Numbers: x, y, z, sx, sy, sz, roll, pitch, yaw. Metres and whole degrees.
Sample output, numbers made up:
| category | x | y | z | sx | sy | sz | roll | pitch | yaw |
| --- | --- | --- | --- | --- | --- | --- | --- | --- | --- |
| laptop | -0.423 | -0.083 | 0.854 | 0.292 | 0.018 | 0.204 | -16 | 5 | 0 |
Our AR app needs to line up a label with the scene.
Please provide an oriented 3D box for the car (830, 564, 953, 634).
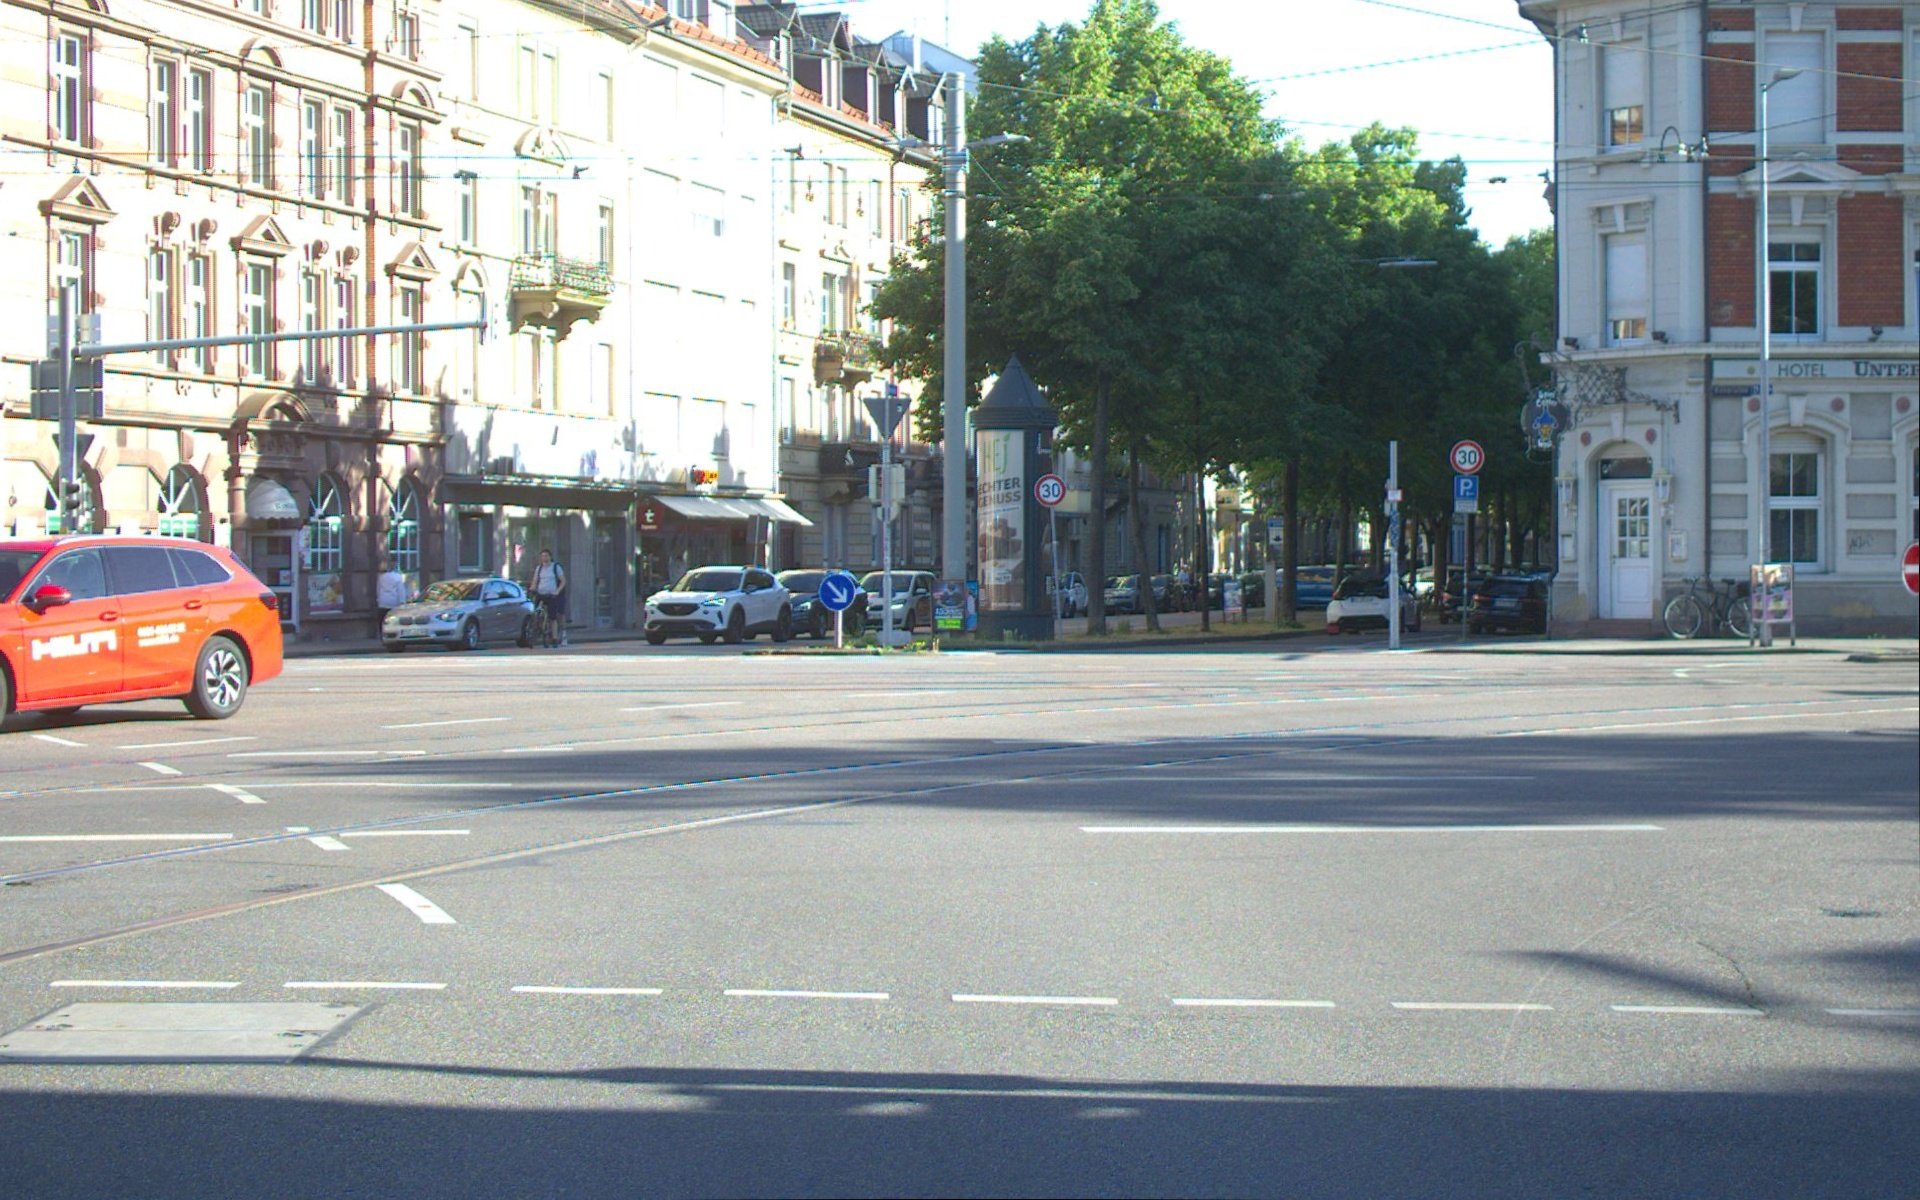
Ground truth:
| category | x | y | z | sx | sy | sz | roll | pitch | yaw |
| --- | --- | --- | --- | --- | --- | --- | --- | --- | --- |
| car | -1.562 | -0.035 | 79.424 | 1.804 | 1.570 | 3.888 | 1 | 1 | 15 |

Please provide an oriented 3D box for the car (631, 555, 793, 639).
| category | x | y | z | sx | sy | sz | roll | pitch | yaw |
| --- | --- | --- | --- | --- | --- | --- | --- | --- | --- |
| car | -4.810 | -0.072 | 67.255 | 1.804 | 1.579 | 4.156 | 1 | 1 | 17 |

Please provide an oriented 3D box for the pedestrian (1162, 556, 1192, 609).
| category | x | y | z | sx | sy | sz | roll | pitch | yaw |
| --- | --- | --- | --- | --- | --- | --- | --- | --- | --- |
| pedestrian | 7.345 | -0.579 | 116.450 | 0.709 | 1.784 | 0.697 | 1 | 0 | -36 |

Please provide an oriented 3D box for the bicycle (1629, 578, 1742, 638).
| category | x | y | z | sx | sy | sz | roll | pitch | yaw |
| --- | --- | --- | --- | --- | --- | --- | --- | --- | --- |
| bicycle | 12.058 | 0.125 | 57.112 | 1.804 | 0.959 | 0.603 | 1 | 0 | 14 |

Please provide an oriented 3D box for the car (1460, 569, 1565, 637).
| category | x | y | z | sx | sy | sz | roll | pitch | yaw |
| --- | --- | --- | --- | --- | --- | --- | --- | --- | --- |
| car | 13.285 | 0.061 | 82.503 | 1.758 | 1.550 | 3.996 | 1 | 1 | 20 |

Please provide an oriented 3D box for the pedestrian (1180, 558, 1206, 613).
| category | x | y | z | sx | sy | sz | roll | pitch | yaw |
| --- | --- | --- | --- | --- | --- | --- | --- | --- | --- |
| pedestrian | 8.513 | -0.534 | 125.552 | 0.752 | 2.007 | 0.998 | 1 | 0 | 16 |

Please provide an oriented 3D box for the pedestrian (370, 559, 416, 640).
| category | x | y | z | sx | sy | sz | roll | pitch | yaw |
| --- | --- | --- | --- | --- | --- | --- | --- | --- | --- |
| pedestrian | -11.474 | -0.010 | 69.591 | 0.568 | 1.636 | 0.792 | 1 | 0 | 23 |

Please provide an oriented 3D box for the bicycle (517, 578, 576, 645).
| category | x | y | z | sx | sy | sz | roll | pitch | yaw |
| --- | --- | --- | --- | --- | --- | --- | --- | --- | --- |
| bicycle | -7.836 | 0.208 | 65.165 | 0.565 | 1.250 | 1.556 | 1 | 0 | 14 |

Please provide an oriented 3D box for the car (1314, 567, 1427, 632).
| category | x | y | z | sx | sy | sz | roll | pitch | yaw |
| --- | --- | --- | --- | --- | --- | --- | --- | --- | --- |
| car | 10.014 | -0.016 | 83.585 | 1.894 | 1.449 | 4.005 | 0 | 2 | 19 |

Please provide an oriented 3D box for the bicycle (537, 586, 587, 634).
| category | x | y | z | sx | sy | sz | roll | pitch | yaw |
| --- | --- | --- | --- | --- | --- | --- | --- | --- | --- |
| bicycle | -7.804 | 0.186 | 67.416 | 0.473 | 0.919 | 1.451 | 1 | 0 | 14 |

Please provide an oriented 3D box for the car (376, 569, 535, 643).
| category | x | y | z | sx | sy | sz | roll | pitch | yaw |
| --- | --- | --- | --- | --- | --- | --- | --- | --- | --- |
| car | -9.803 | 0.102 | 67.018 | 1.661 | 1.369 | 3.889 | 1 | 1 | 15 |

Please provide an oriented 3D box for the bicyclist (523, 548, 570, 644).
| category | x | y | z | sx | sy | sz | roll | pitch | yaw |
| --- | --- | --- | --- | --- | --- | --- | --- | --- | --- |
| bicyclist | -7.840 | -0.072 | 65.170 | 0.565 | 1.797 | 0.913 | 1 | 0 | 14 |

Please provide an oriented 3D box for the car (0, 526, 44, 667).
| category | x | y | z | sx | sy | sz | roll | pitch | yaw |
| --- | --- | --- | --- | --- | --- | --- | --- | --- | --- |
| car | -11.894 | -0.014 | 38.258 | 1.868 | 1.596 | 4.454 | -1 | 1 | 5 |

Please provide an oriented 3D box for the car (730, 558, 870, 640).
| category | x | y | z | sx | sy | sz | roll | pitch | yaw |
| --- | --- | --- | --- | --- | --- | --- | --- | --- | --- |
| car | -3.393 | -0.040 | 73.581 | 1.826 | 1.679 | 3.872 | 1 | 1 | 16 |

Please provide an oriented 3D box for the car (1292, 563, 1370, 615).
| category | x | y | z | sx | sy | sz | roll | pitch | yaw |
| --- | --- | --- | --- | --- | --- | --- | --- | --- | --- |
| car | 12.602 | -0.379 | 116.603 | 1.995 | 1.678 | 3.997 | 1 | 1 | 15 |

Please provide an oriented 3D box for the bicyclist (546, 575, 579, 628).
| category | x | y | z | sx | sy | sz | roll | pitch | yaw |
| --- | --- | --- | --- | --- | --- | --- | --- | --- | --- |
| bicyclist | -7.802 | 0.030 | 67.425 | 0.473 | 1.036 | 0.537 | 1 | 0 | 15 |

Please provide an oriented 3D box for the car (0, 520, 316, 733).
| category | x | y | z | sx | sy | sz | roll | pitch | yaw |
| --- | --- | --- | --- | --- | --- | --- | --- | --- | --- |
| car | -7.094 | 0.157 | 26.176 | 1.800 | 1.464 | 4.868 | 1 | 2 | 25 |

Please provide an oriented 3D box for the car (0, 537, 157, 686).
| category | x | y | z | sx | sy | sz | roll | pitch | yaw |
| --- | --- | --- | --- | --- | --- | --- | --- | --- | --- |
| car | -9.878 | 0.113 | 32.396 | 4.217 | 1.385 | 1.734 | -1 | 2 | -44 |

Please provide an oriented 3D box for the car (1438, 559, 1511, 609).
| category | x | y | z | sx | sy | sz | roll | pitch | yaw |
| --- | --- | --- | --- | --- | --- | --- | --- | --- | --- |
| car | 14.860 | -0.477 | 99.257 | 1.826 | 1.398 | 3.998 | 0 | 1 | 12 |
